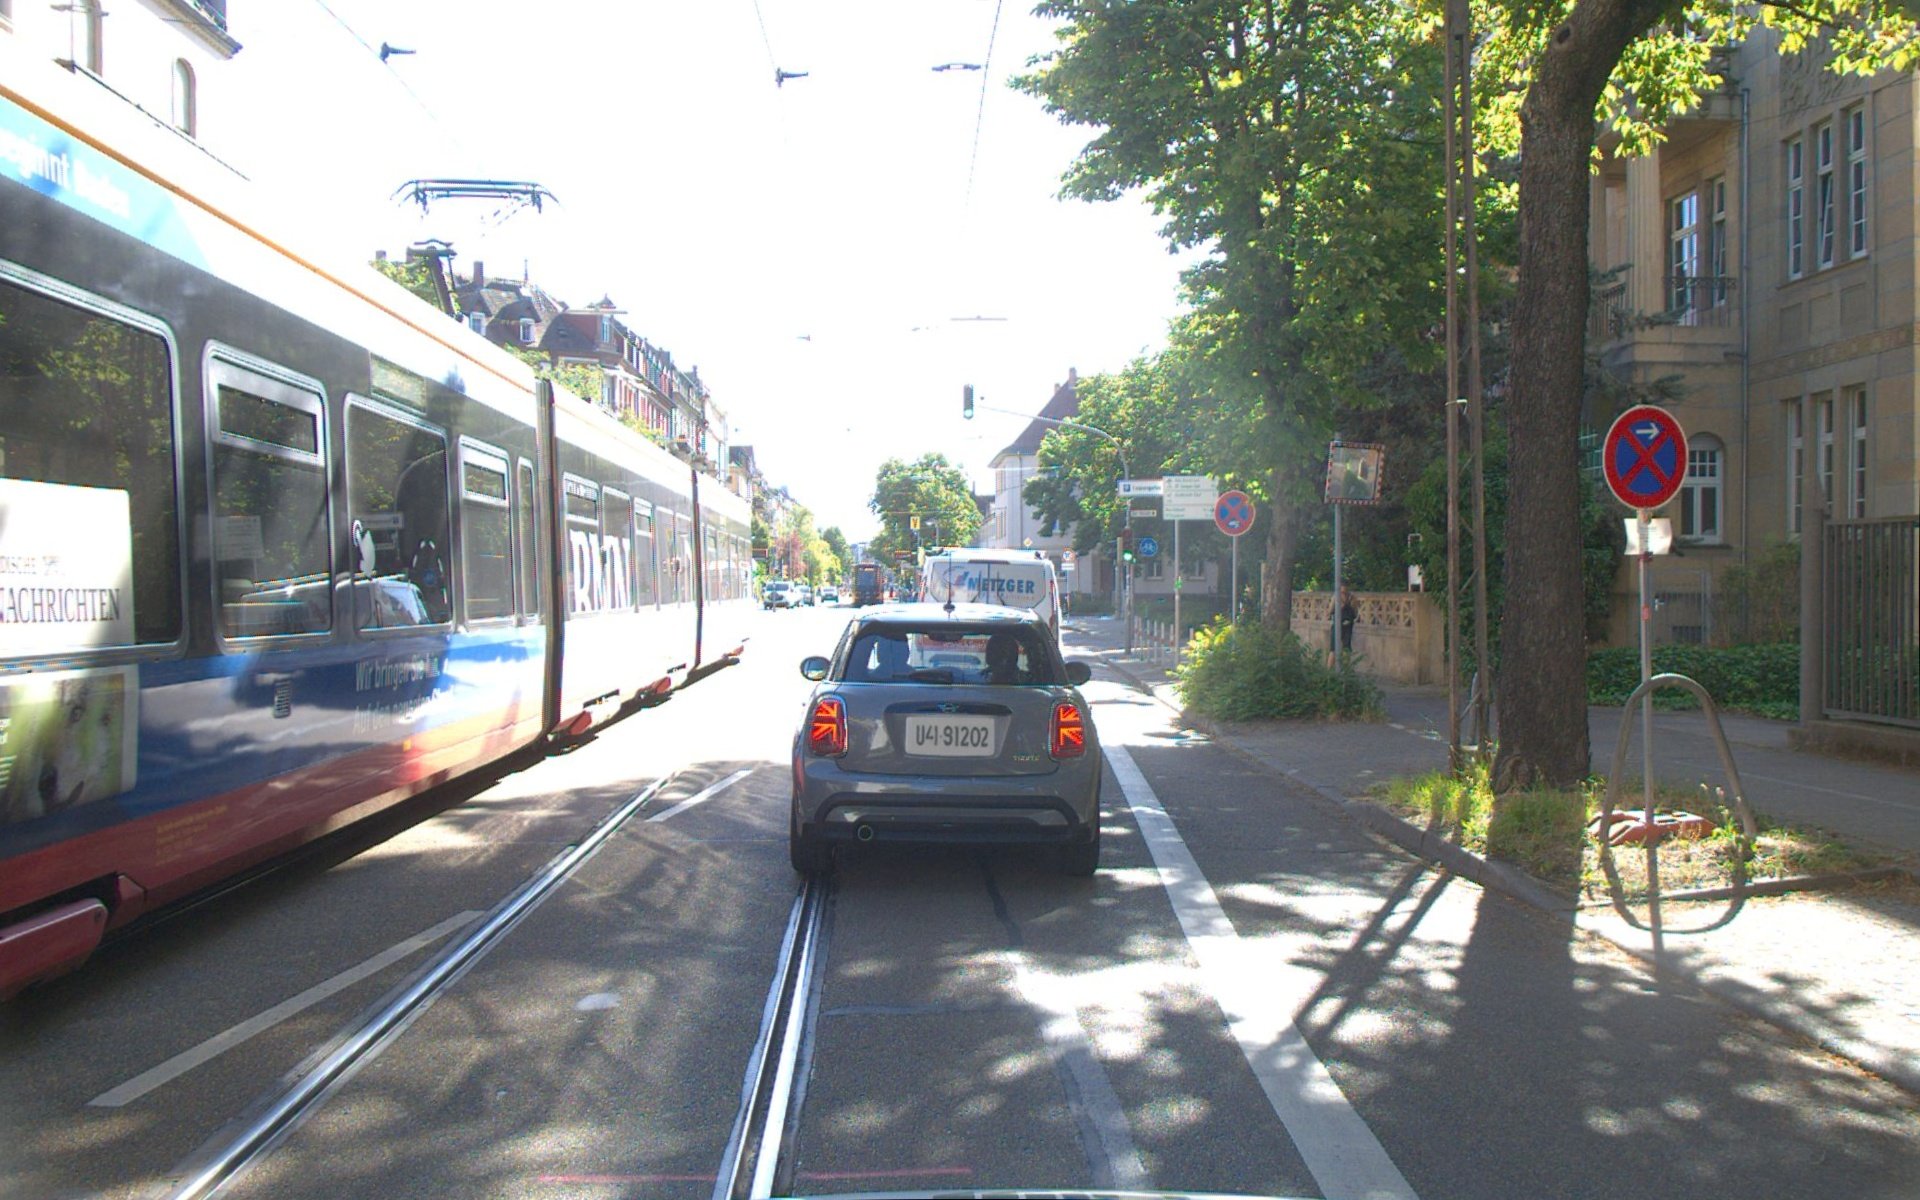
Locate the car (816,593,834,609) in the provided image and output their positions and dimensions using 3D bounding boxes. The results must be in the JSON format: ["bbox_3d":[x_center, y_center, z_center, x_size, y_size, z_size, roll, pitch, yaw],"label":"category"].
[{"bbox_3d":[-14.028,0.074,172.240,1.741,1.646,3.996,1,0,-4],"label":"car"}]

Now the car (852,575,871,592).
[{"bbox_3d":[-9.809,-1.660,165.222,1.827,1.591,3.996,1,0,-4],"label":"car"}]

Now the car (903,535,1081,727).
[{"bbox_3d":[0.347,0.378,22.125,2.075,2.247,4.943,1,0,-1],"label":"car"}]

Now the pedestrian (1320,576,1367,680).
[{"bbox_3d":[6.375,0.458,27.522,0.580,1.700,0.646,-2,0,-1],"label":"pedestrian"}]

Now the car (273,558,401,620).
[{"bbox_3d":[-21.365,-0.367,56.701,3.910,2.049,1.997,1,0,28],"label":"car"}]

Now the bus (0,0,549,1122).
[{"bbox_3d":[-4.160,-0.475,6.382,2.803,3.843,11.490,1,0,-3],"label":"bus"}]

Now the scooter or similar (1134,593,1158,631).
[{"bbox_3d":[6.610,0.424,58.914,0.662,1.333,1.328,1,0,-2],"label":"scooter or similar"}]

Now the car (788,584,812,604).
[{"bbox_3d":[-12.980,-0.474,134.356,1.741,1.646,3.996,1,0,-4],"label":"car"}]

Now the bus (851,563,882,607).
[{"bbox_3d":[-7.923,-1.215,139.693,2.339,3.557,7.376,1,0,-5],"label":"bus"}]

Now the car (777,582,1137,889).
[{"bbox_3d":[-0.042,0.688,10.290,1.778,1.514,3.999,1,0,-1],"label":"car"}]

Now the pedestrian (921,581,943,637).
[{"bbox_3d":[-1.040,0.342,61.464,0.779,2.049,0.740,1,-1,-2],"label":"pedestrian"}]

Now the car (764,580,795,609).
[{"bbox_3d":[-12.982,-0.395,119.155,1.954,2.049,5.025,1,0,-4],"label":"car"}]

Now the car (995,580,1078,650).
[{"bbox_3d":[1.989,0.389,44.065,1.953,1.736,3.999,1,0,-1],"label":"car"}]

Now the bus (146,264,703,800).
[{"bbox_3d":[-4.743,-0.465,17.624,2.803,3.843,11.176,1,0,-3],"label":"bus"}]

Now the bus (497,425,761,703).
[{"bbox_3d":[-5.353,-0.480,29.230,2.793,3.843,12.189,1,0,-3],"label":"bus"}]

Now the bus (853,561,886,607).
[{"bbox_3d":[-7.289,-1.214,132.306,2.339,3.557,7.376,1,0,-5],"label":"bus"}]
